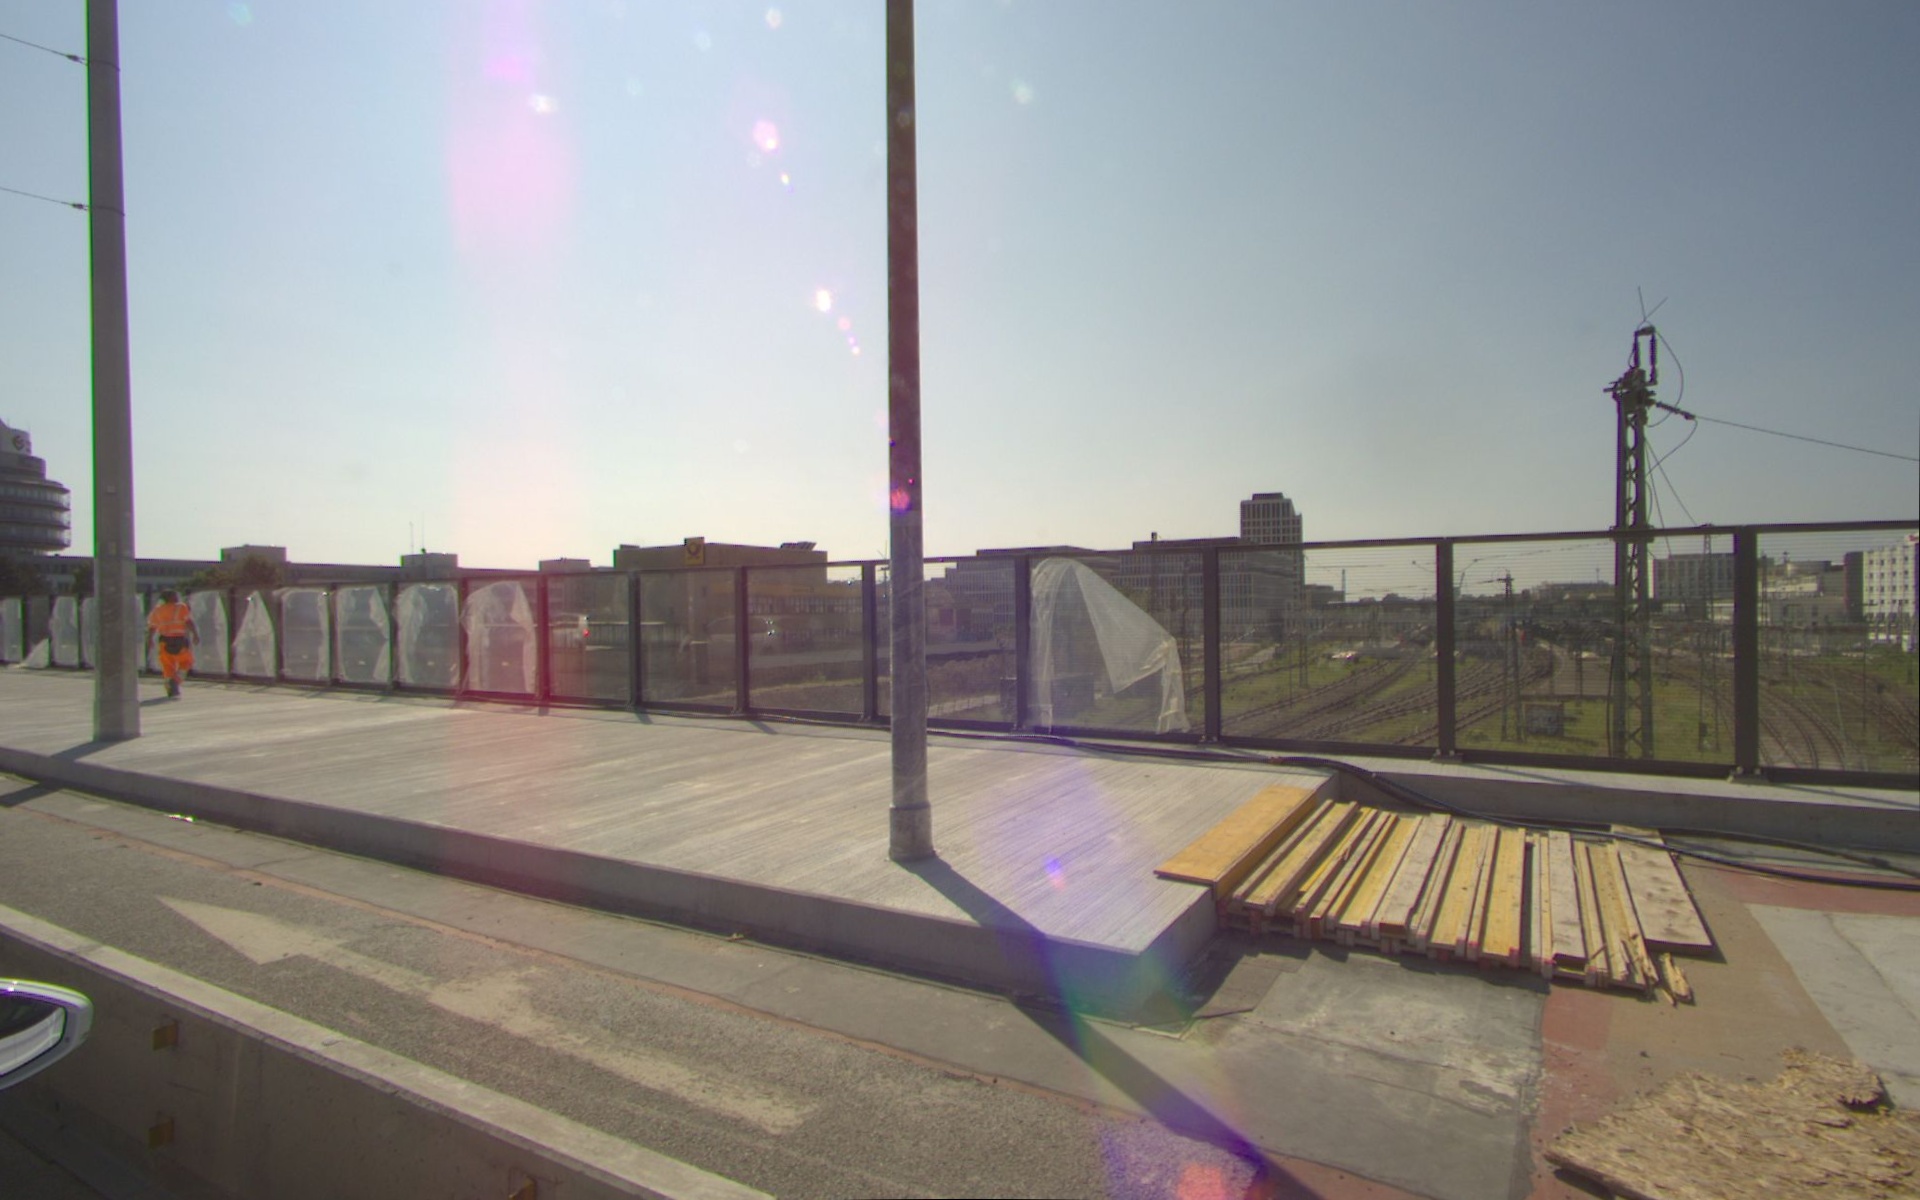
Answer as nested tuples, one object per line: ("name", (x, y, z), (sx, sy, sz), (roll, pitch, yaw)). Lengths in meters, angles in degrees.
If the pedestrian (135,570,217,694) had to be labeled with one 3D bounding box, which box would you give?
("pedestrian", (-12.797, 0.515, 16.357), (0.788, 1.961, 0.780), (-1, 1, 32))
